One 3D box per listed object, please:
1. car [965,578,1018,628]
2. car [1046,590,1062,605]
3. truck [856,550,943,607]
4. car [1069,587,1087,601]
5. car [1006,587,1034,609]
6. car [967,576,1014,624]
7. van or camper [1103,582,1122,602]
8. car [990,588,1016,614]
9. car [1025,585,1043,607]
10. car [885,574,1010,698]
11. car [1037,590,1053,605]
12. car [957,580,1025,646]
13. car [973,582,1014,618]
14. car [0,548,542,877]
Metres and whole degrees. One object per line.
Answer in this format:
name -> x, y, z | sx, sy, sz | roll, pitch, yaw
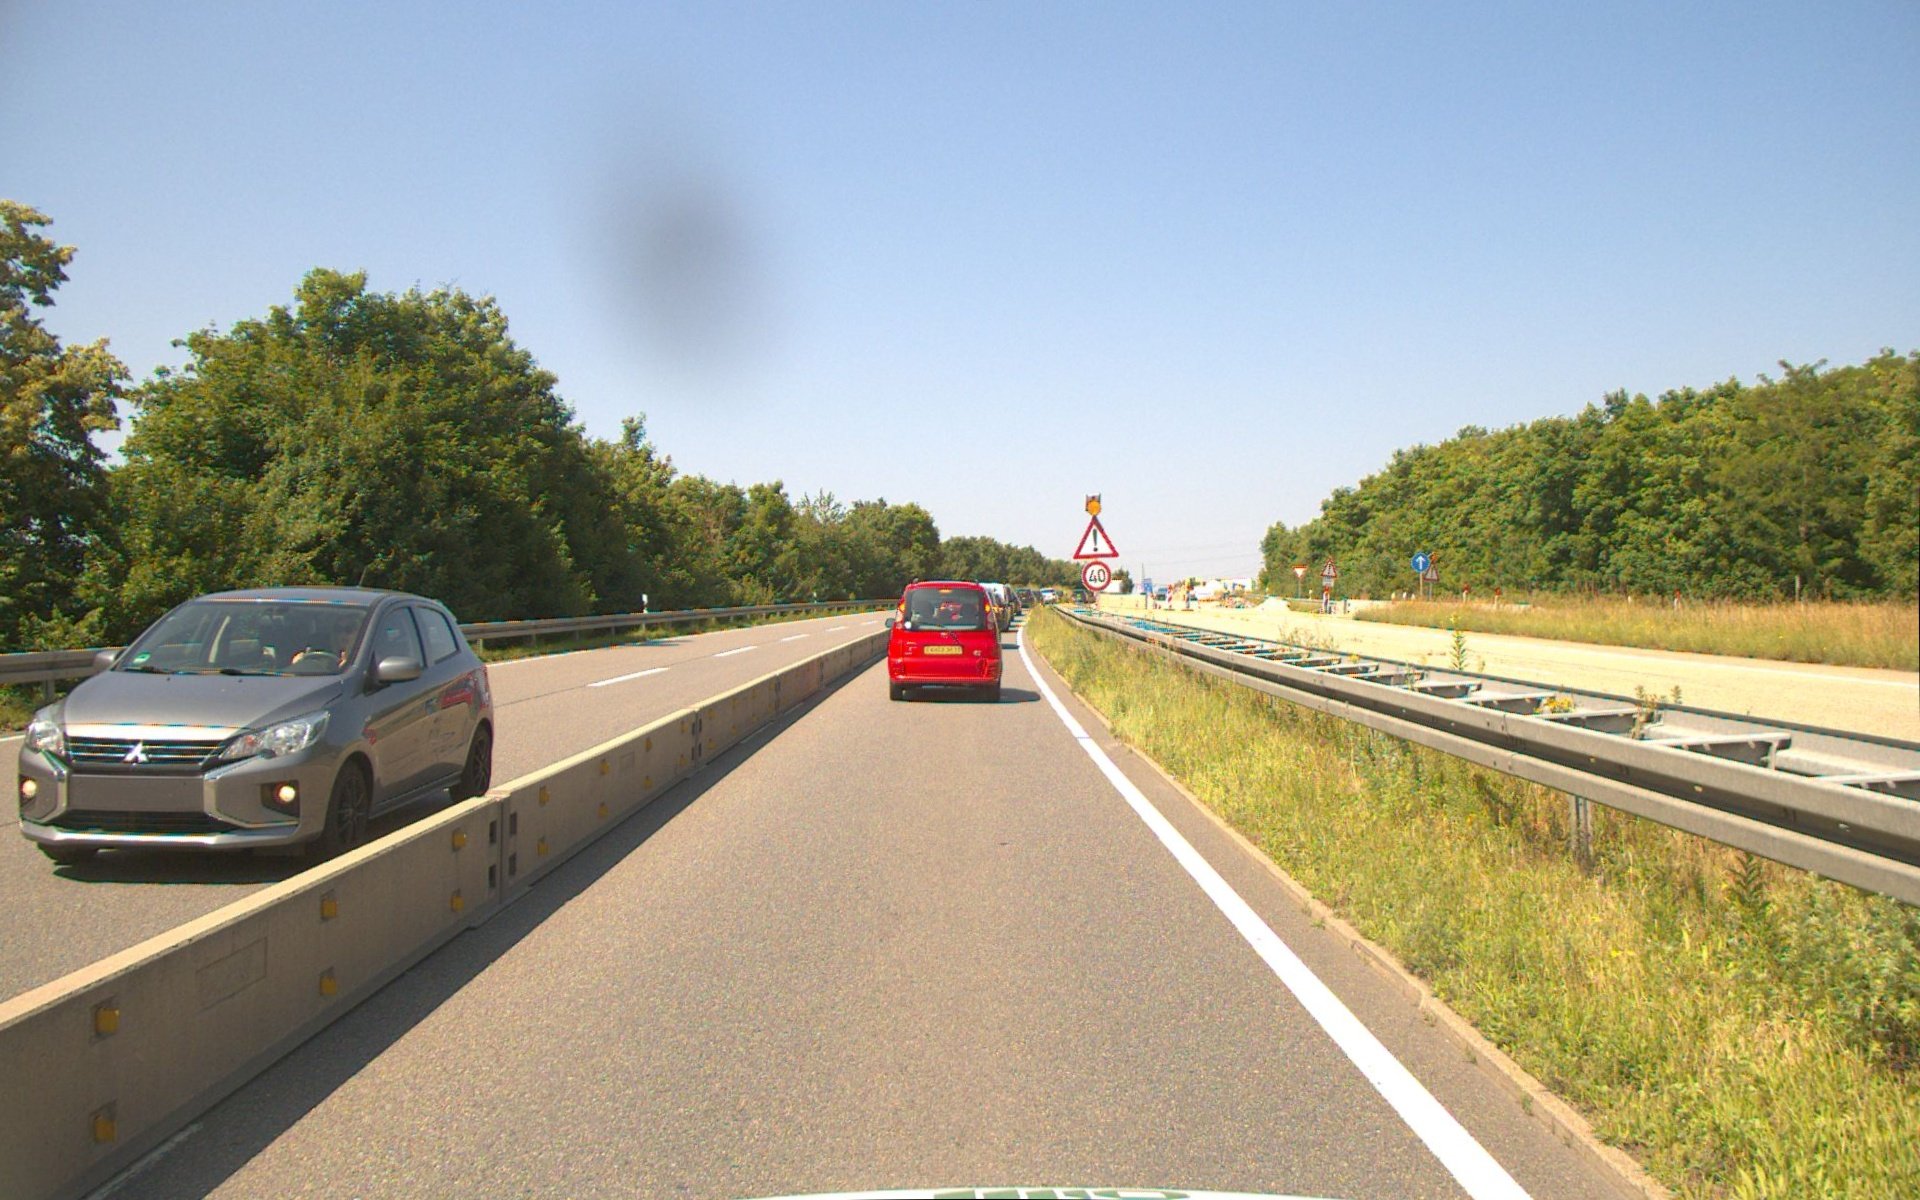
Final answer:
car -> 1.203, 0.115, 63.016 | 1.952, 1.870, 4.000 | 0, 0, 1
car -> 9.554, -0.292, 167.731 | 1.470, 1.476, 3.172 | -1, 0, 5
truck -> -6.079, -2.174, 166.933 | 8.439, 5.469, 3.391 | -1, 0, 4
car -> 13.615, -0.670, 191.597 | 1.952, 1.579, 4.001 | 0, 0, 2
car -> 4.391, -0.153, 120.605 | 1.952, 1.612, 4.001 | 0, 0, 2
car -> 1.313, -0.010, 72.165 | 1.953, 2.038, 4.000 | 1, 0, 0
van or camper -> 21.853, -1.104, 237.340 | 2.280, 2.754, 4.593 | 0, 0, 0
car -> 2.545, 0.057, 97.787 | 1.470, 1.476, 3.326 | -1, 0, 2
car -> 6.080, -0.314, 136.125 | 1.470, 1.767, 3.171 | 1, 0, 3
car -> -0.250, 0.492, 24.797 | 1.716, 1.702, 3.998 | 0, 0, -2
car -> 7.814, -0.218, 152.030 | 1.391, 1.321, 2.881 | 0, 0, 5
car -> 0.848, 0.331, 46.274 | 1.792, 1.752, 4.000 | 0, 0, 1
car -> 1.663, -0.007, 83.913 | 1.953, 1.780, 3.999 | 0, 0, -1
car -> -4.163, 0.558, 10.391 | 1.909, 1.606, 4.435 | 1, 0, 0
